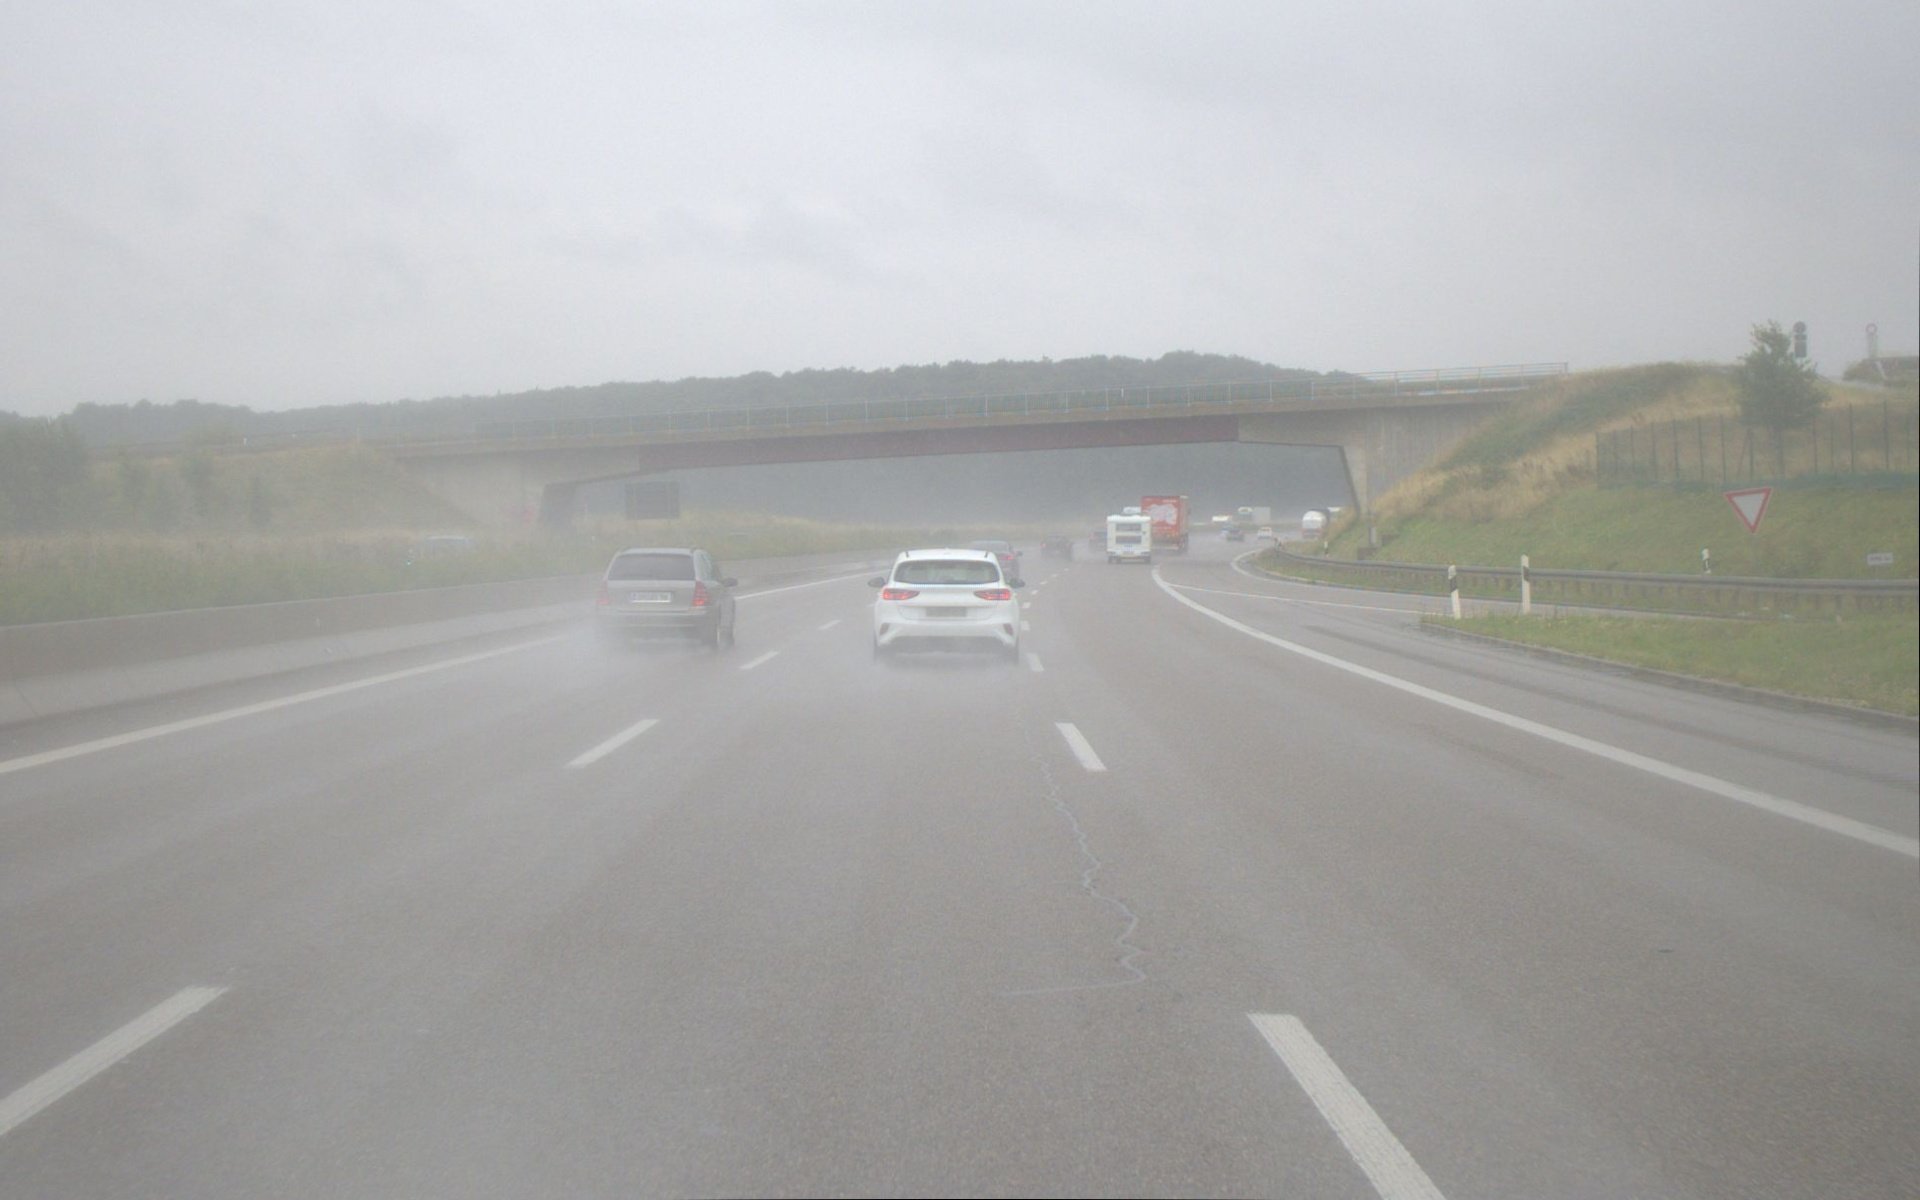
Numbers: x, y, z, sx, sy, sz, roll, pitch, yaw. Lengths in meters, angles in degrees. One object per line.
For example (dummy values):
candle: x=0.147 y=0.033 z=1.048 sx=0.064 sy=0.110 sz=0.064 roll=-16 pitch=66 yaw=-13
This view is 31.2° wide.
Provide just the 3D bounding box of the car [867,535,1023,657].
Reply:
car: x=-0.209 y=-0.071 z=43.486 sx=1.867 sy=1.458 sz=4.000 roll=0 pitch=1 yaw=-1

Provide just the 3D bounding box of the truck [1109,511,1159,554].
truck: x=9.076 y=-3.518 z=178.940 sx=2.408 sy=2.244 sz=4.692 roll=0 pitch=1 yaw=5

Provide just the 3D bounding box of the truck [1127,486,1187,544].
truck: x=13.268 y=-5.786 z=232.513 sx=3.527 sy=3.730 sz=11.426 roll=1 pitch=2 yaw=1

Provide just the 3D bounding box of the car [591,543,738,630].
car: x=-4.122 y=-0.187 z=48.460 sx=1.823 sy=1.152 sz=4.213 roll=1 pitch=0 yaw=-2

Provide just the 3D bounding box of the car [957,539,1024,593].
car: x=0.982 y=-1.085 z=107.808 sx=1.993 sy=1.612 sz=4.000 roll=0 pitch=1 yaw=2
